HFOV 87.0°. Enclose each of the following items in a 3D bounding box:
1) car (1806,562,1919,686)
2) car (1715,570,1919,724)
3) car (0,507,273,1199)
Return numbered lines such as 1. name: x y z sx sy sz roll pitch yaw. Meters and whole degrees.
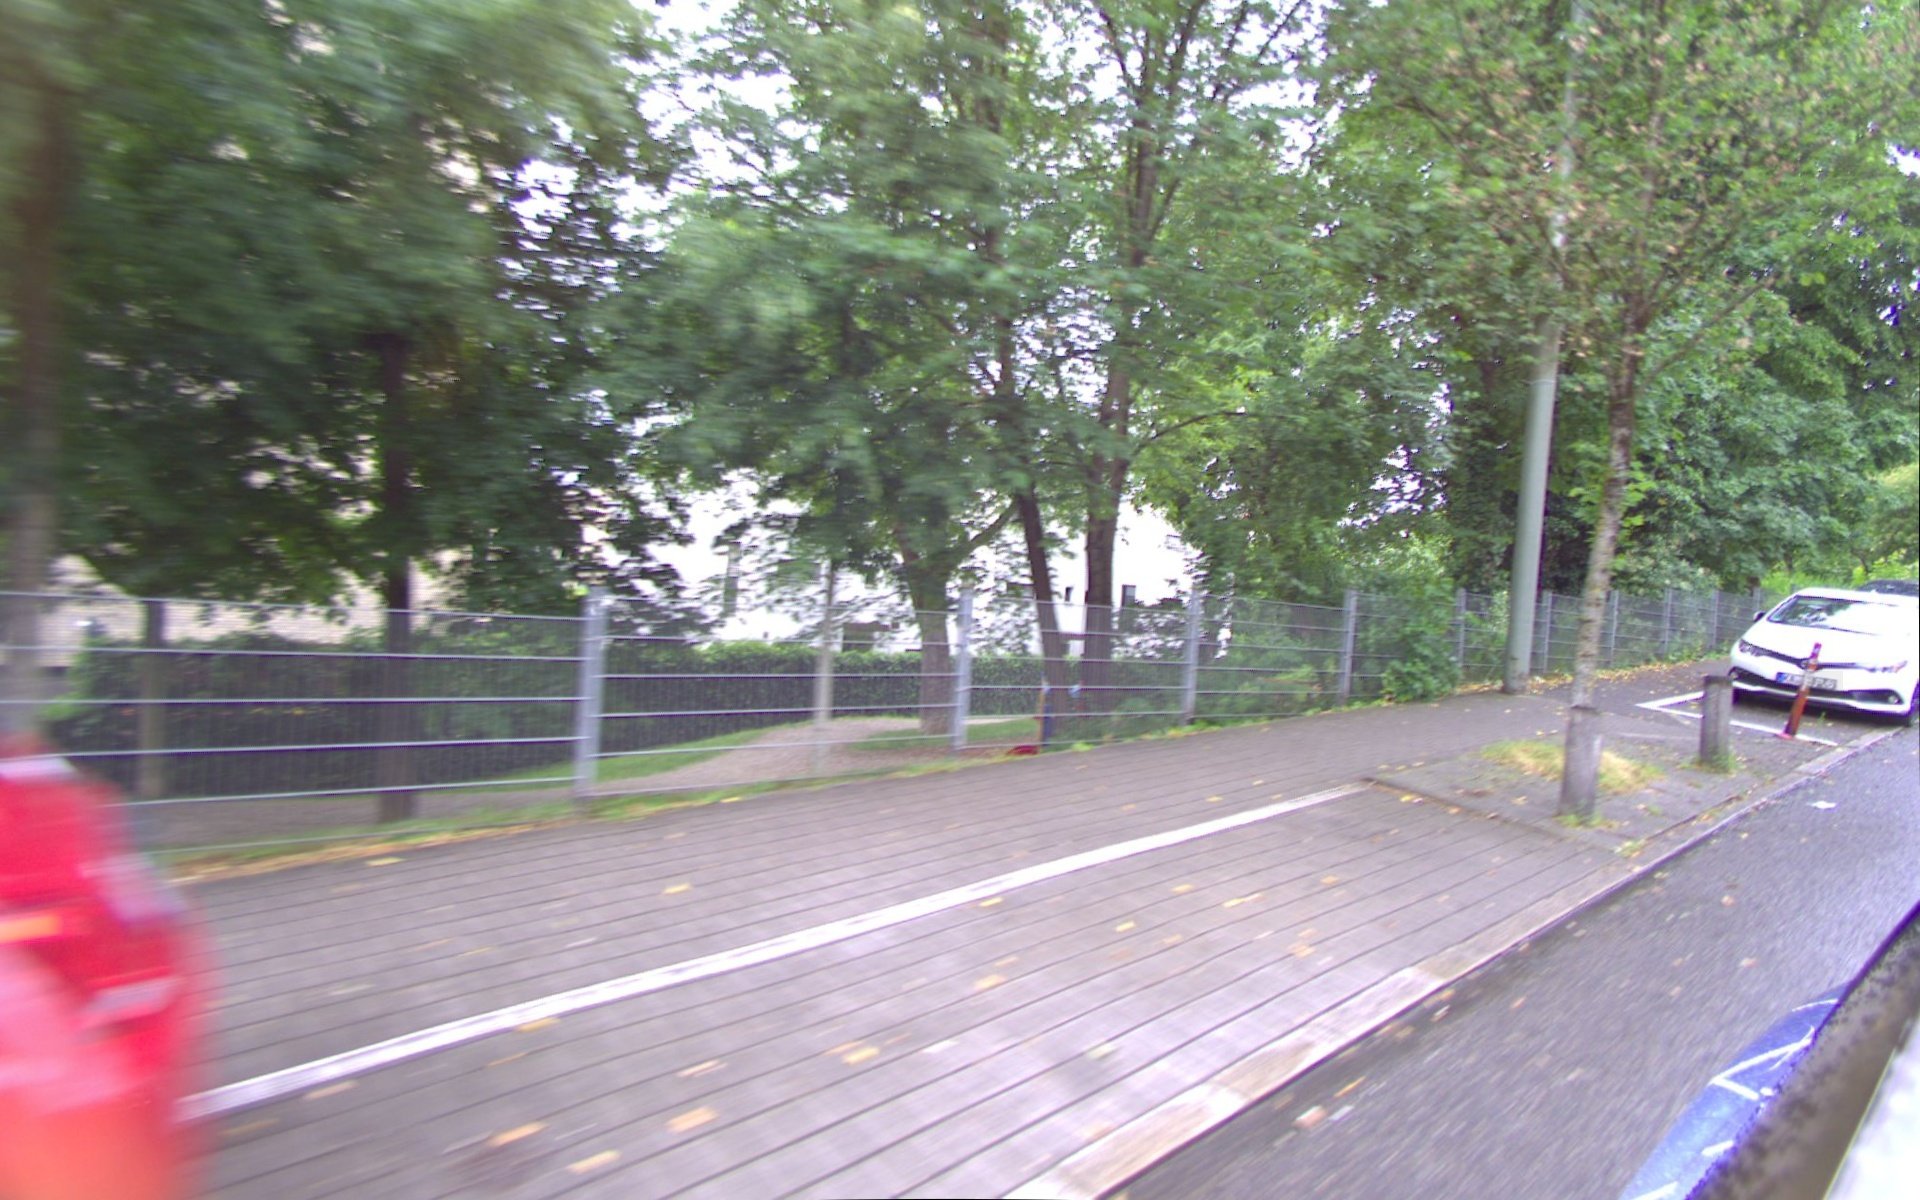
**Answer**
1. car: 15.617 0.415 16.341 4.794 1.670 1.927 2 6 -38
2. car: 11.503 0.523 12.952 4.795 1.480 1.747 1 6 -40
3. car: -3.028 0.573 0.809 3.891 1.520 1.612 1 3 -43
